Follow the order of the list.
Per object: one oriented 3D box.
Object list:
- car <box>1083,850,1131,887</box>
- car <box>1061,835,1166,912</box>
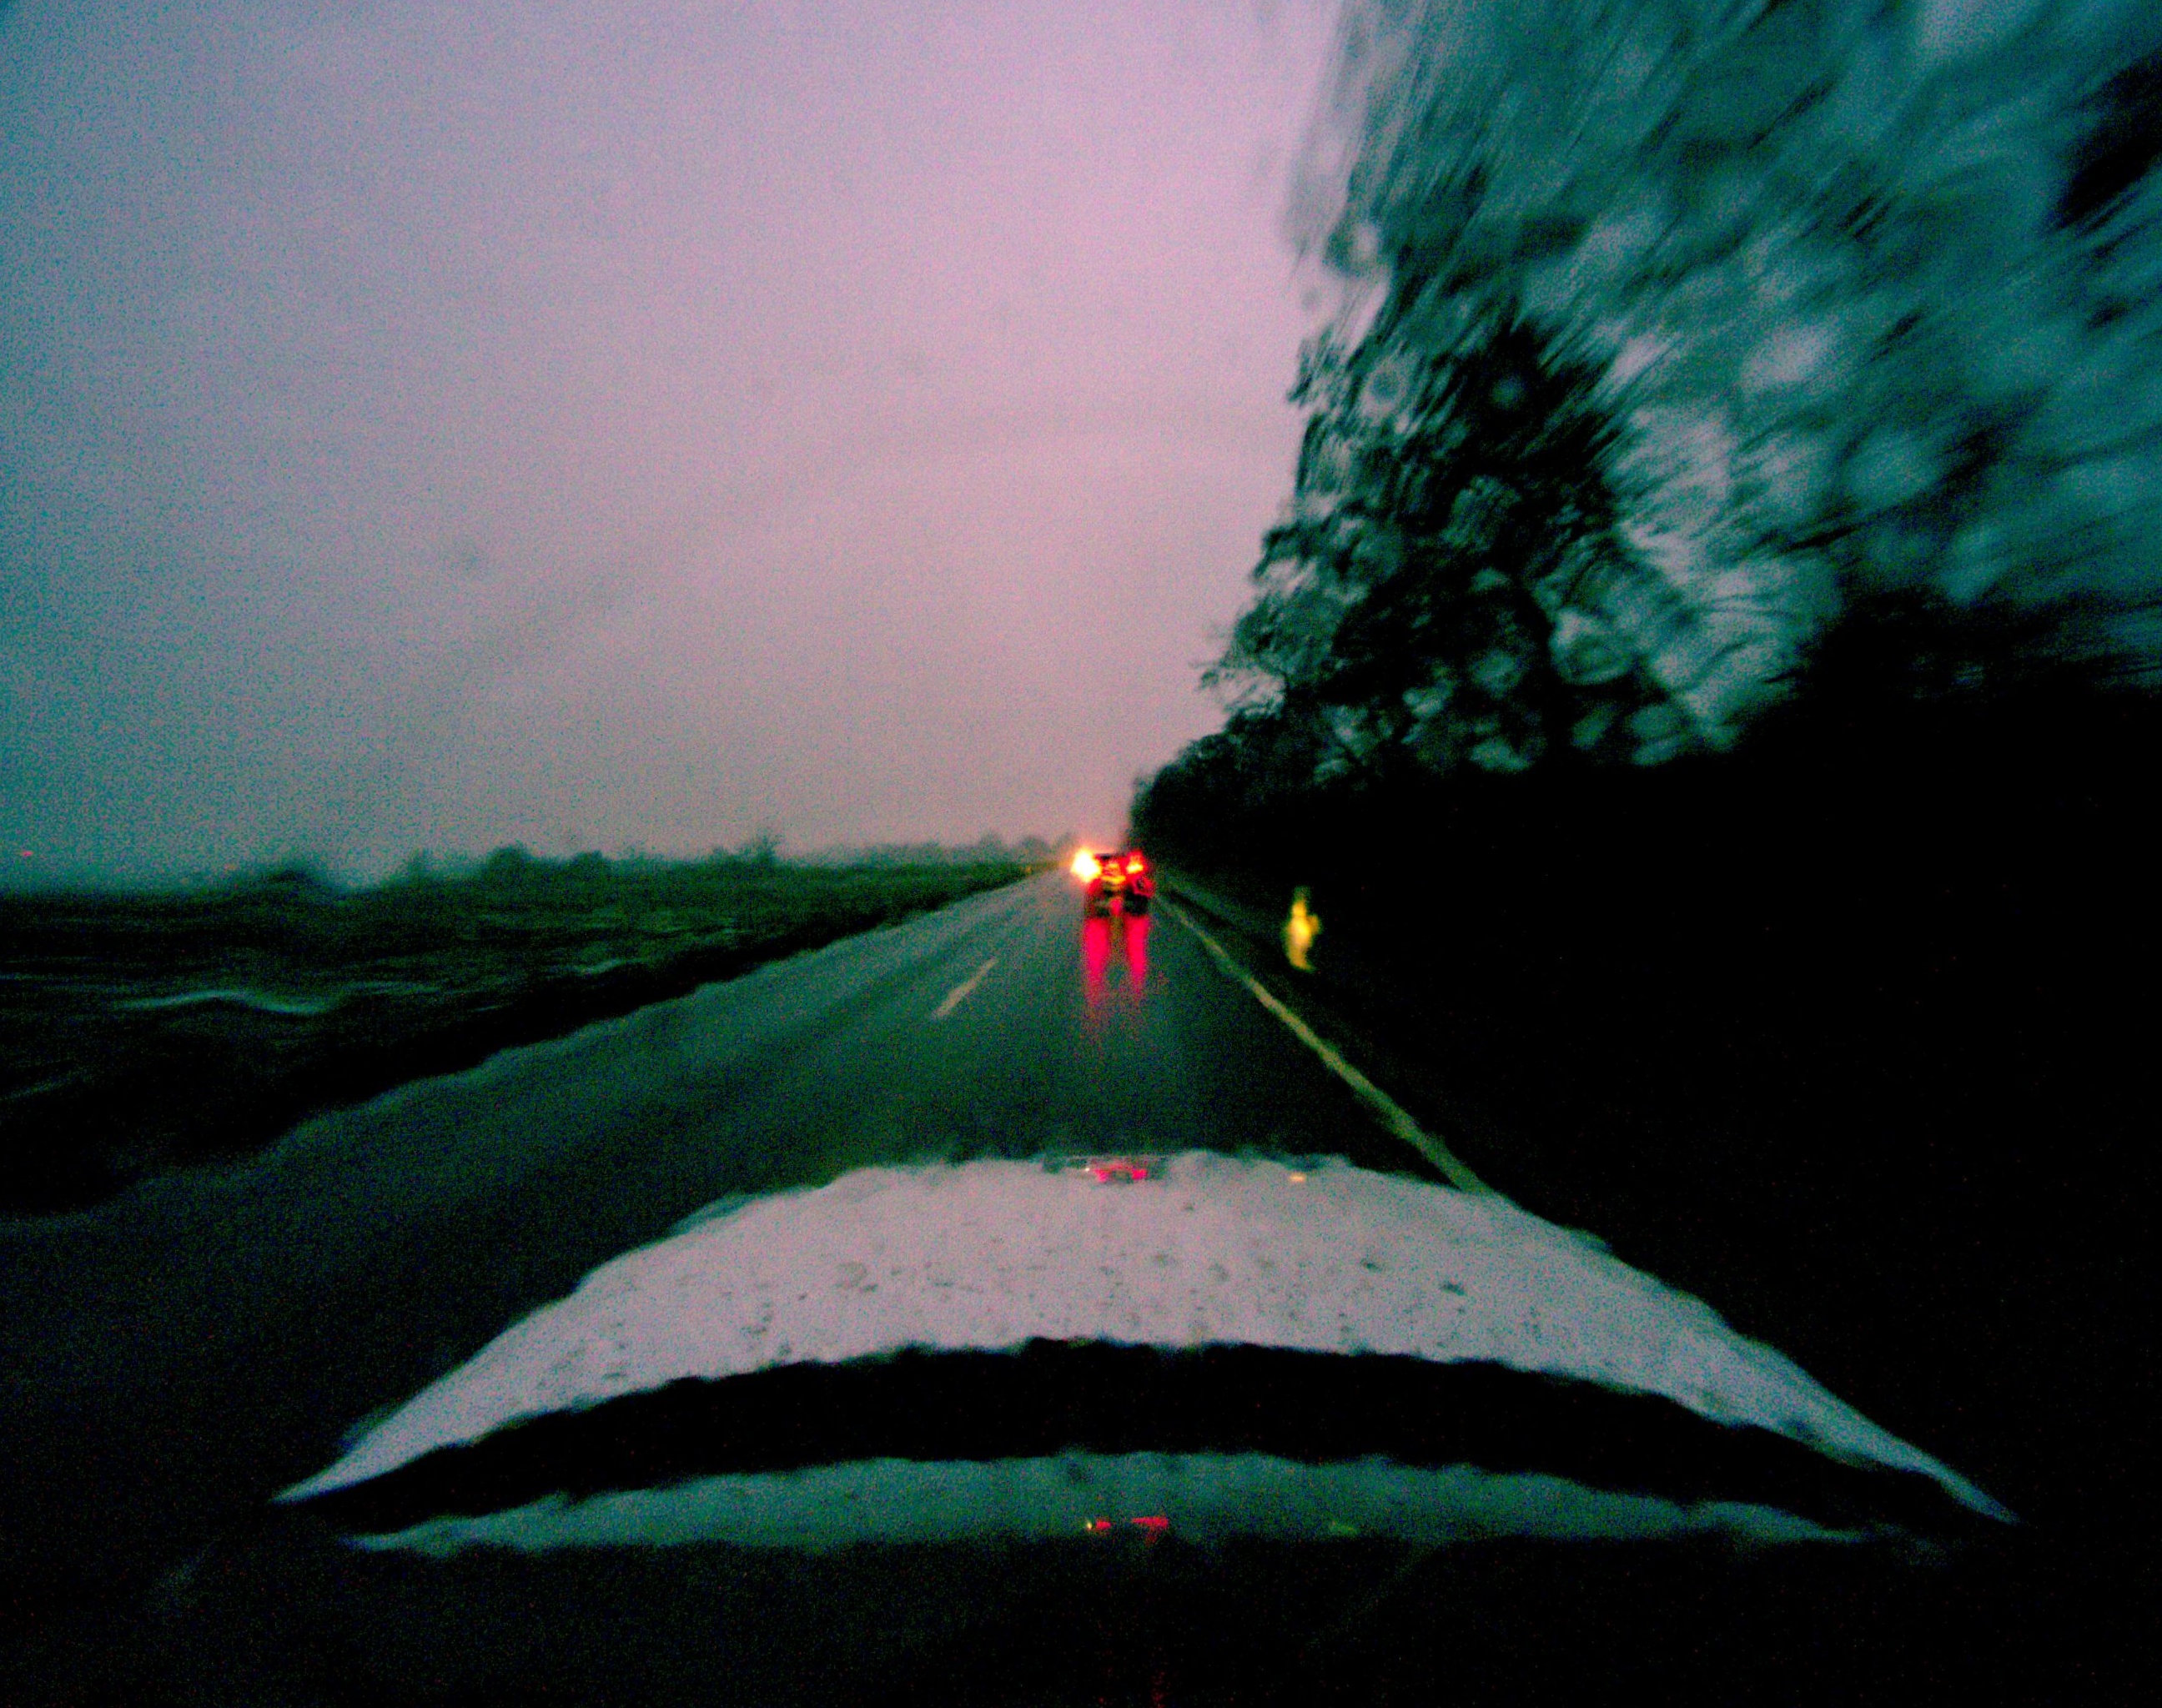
[{"bbox_3d":[1.565,0.778,47.350,2.581,2.014,5.808,0,0,3],"label":"car"},{"bbox_3d":[1.009,0.536,24.816,2.809,2.077,5.808,0,0,3],"label":"car"}]
